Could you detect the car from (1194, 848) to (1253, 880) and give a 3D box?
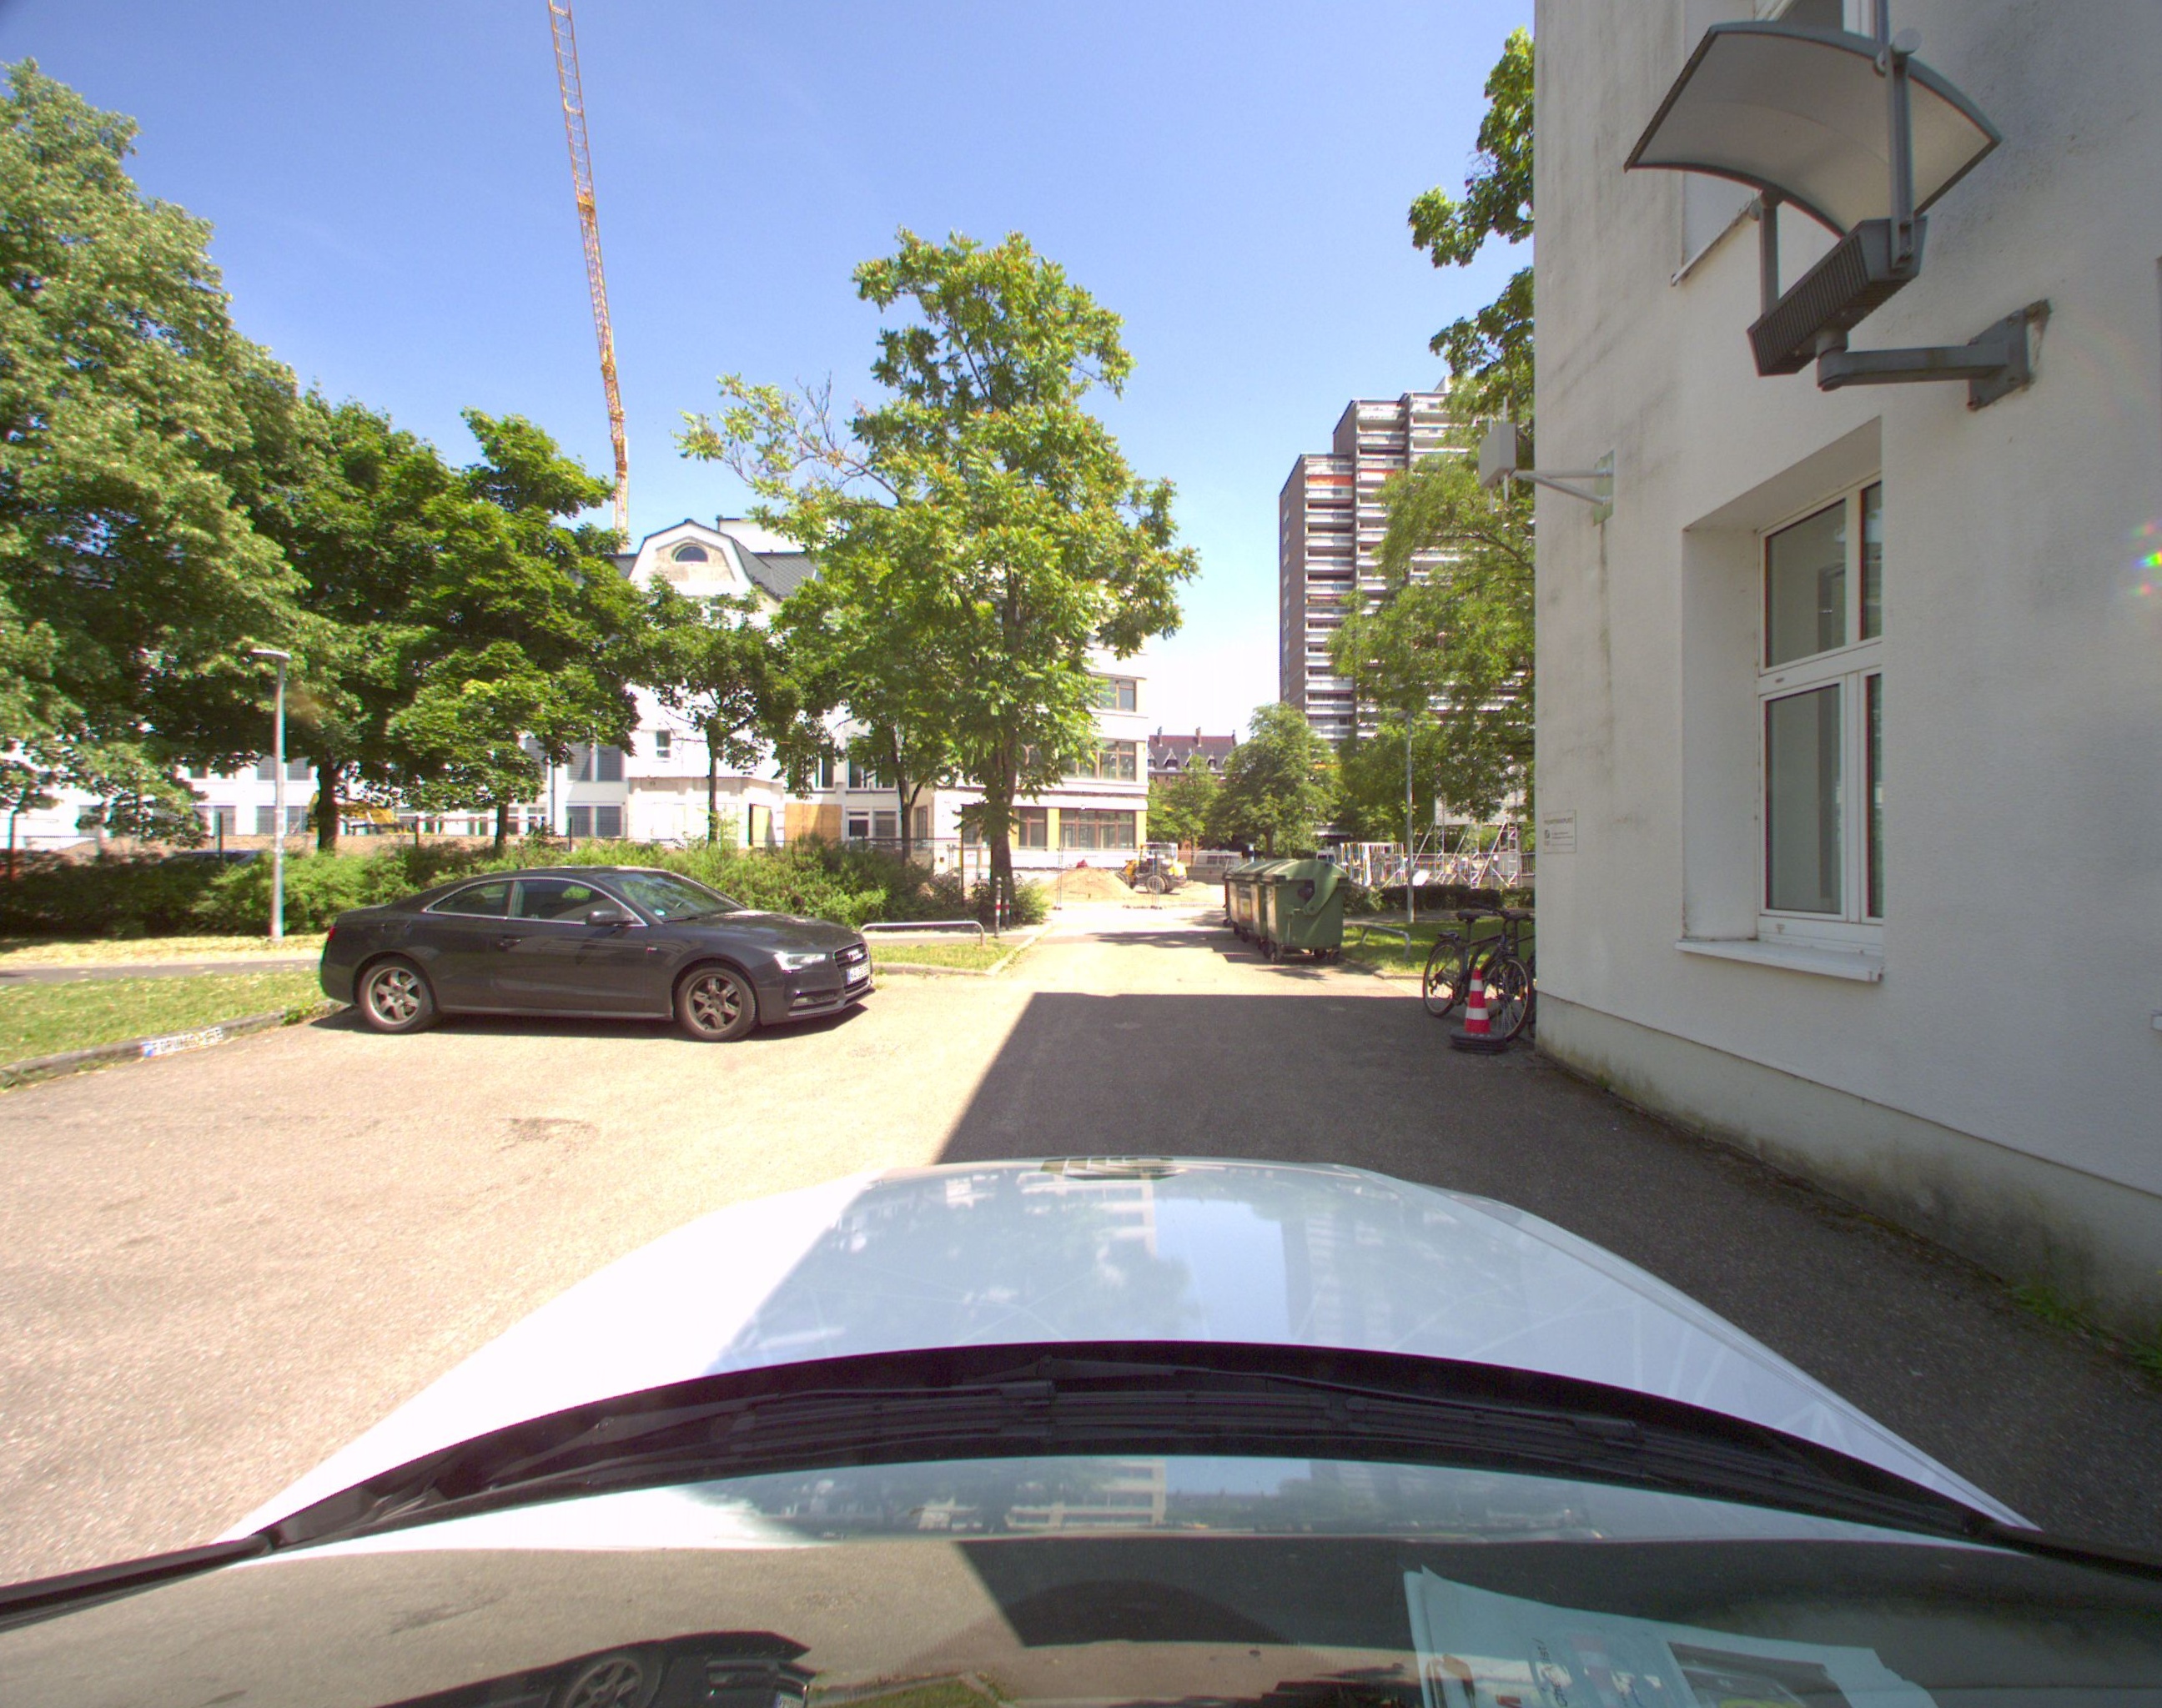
[{"bbox_3d":[11.230,0.823,64.566,2.004,2.416,5.198,1,-1,-26],"label":"car"}]

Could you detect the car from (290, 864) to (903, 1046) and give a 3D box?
[{"bbox_3d":[-4.106,0.795,7.444,4.408,1.380,2.026,0,-1,5],"label":"car"}]

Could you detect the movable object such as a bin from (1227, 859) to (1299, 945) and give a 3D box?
[{"bbox_3d":[3.233,0.835,14.633,1.071,1.458,1.378,0,-1,4],"label":"movable object such as a bin"}]

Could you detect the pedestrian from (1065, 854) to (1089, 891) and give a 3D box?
[{"bbox_3d":[-0.184,0.934,41.580,0.906,1.847,0.991,0,-1,21],"label":"pedestrian"}]

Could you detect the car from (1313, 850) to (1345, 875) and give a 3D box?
[{"bbox_3d":[23.194,0.785,76.051,2.164,2.258,4.896,0,-1,24],"label":"car"}]

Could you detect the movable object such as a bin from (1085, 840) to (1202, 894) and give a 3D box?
[{"bbox_3d":[3.135,0.624,41.188,5.351,2.464,2.382,2,0,31],"label":"movable object such as a bin"}]

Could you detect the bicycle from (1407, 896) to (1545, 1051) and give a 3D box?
[{"bbox_3d":[3.349,0.950,7.072,0.403,1.102,1.827,0,-1,3],"label":"bicycle"}]

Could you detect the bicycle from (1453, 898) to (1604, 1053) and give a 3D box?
[{"bbox_3d":[3.818,0.975,7.105,0.403,1.102,1.827,0,-1,3],"label":"bicycle"}]

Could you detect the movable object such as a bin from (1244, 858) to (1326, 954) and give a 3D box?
[{"bbox_3d":[3.260,0.811,13.157,1.071,1.458,1.378,0,-1,4],"label":"movable object such as a bin"}]

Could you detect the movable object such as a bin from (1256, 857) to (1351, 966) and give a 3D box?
[{"bbox_3d":[3.160,0.786,11.716,1.071,1.458,1.378,0,-1,4],"label":"movable object such as a bin"}]

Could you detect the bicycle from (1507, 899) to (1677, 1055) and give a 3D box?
[{"bbox_3d":[4.329,0.975,7.052,0.403,1.102,1.827,0,-1,3],"label":"bicycle"}]

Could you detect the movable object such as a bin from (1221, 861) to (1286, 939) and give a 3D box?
[{"bbox_3d":[3.368,0.874,16.051,1.071,1.458,1.378,0,-1,4],"label":"movable object such as a bin"}]

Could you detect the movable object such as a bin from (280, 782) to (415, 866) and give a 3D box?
[{"bbox_3d":[-39.272,-1.558,43.684,5.675,4.372,2.003,0,-1,6],"label":"movable object such as a bin"}]

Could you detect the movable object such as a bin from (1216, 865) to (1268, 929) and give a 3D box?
[{"bbox_3d":[3.848,1.007,19.541,1.071,1.458,1.378,0,-1,4],"label":"movable object such as a bin"}]
